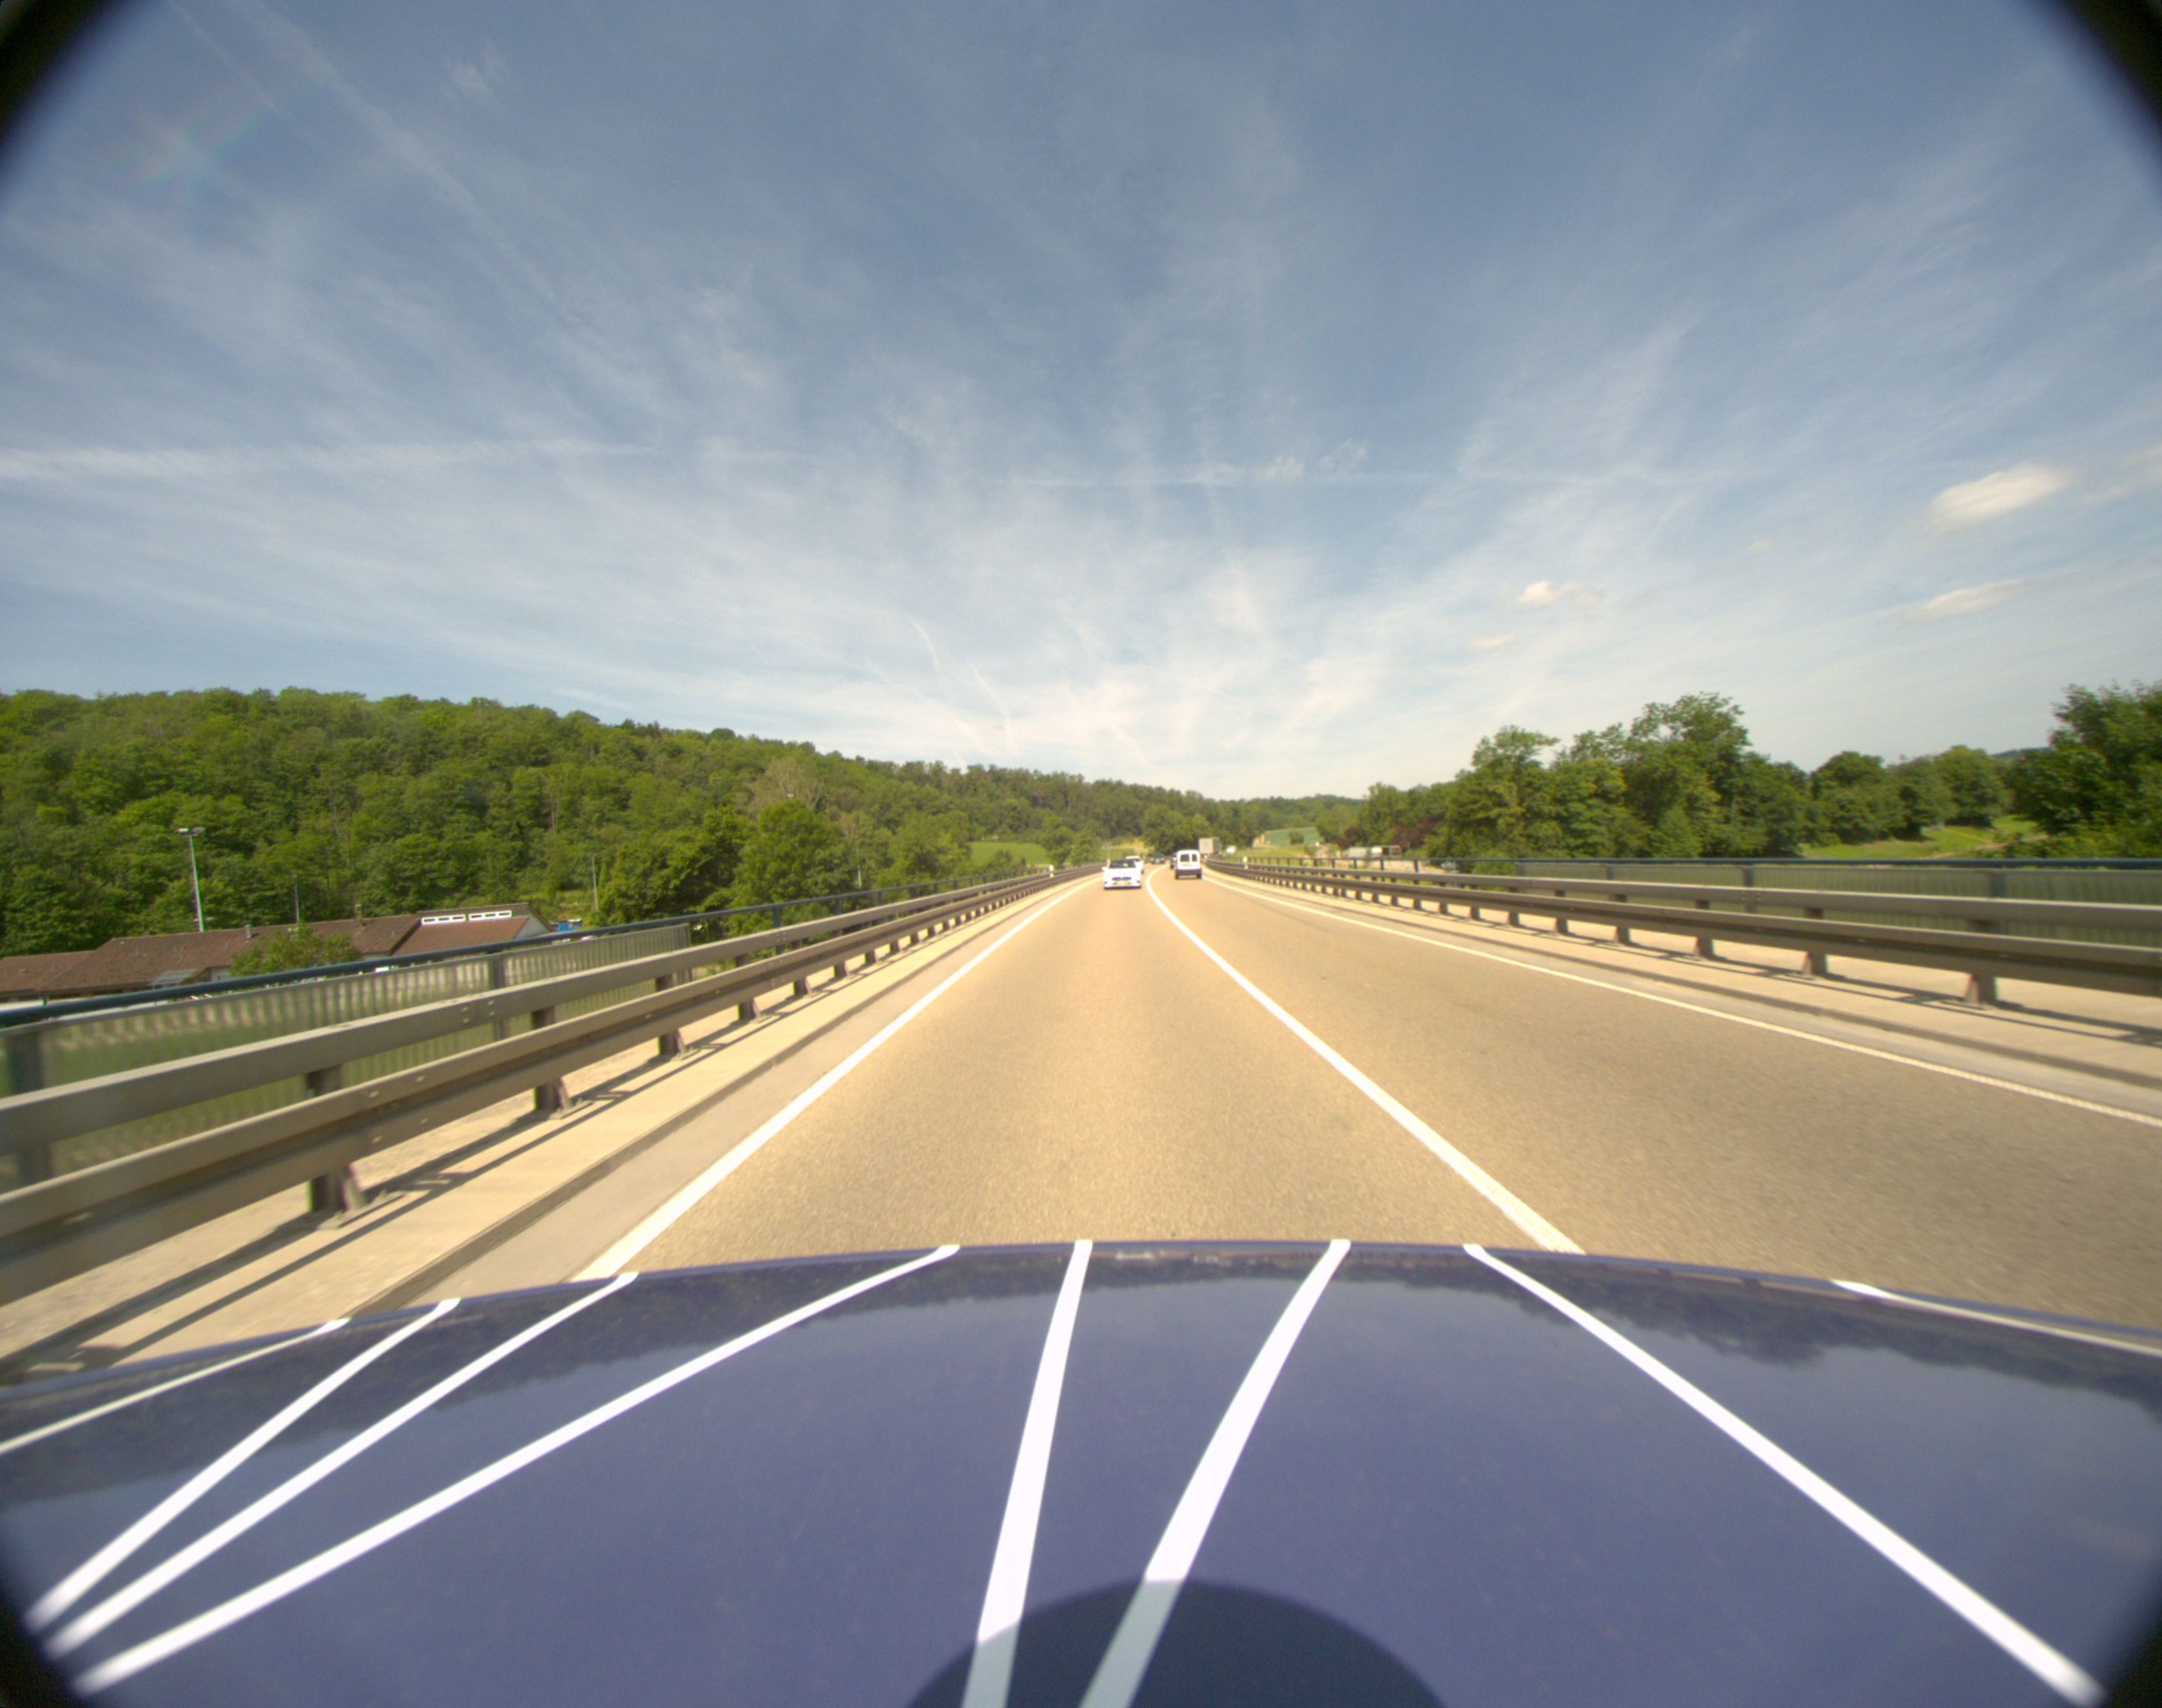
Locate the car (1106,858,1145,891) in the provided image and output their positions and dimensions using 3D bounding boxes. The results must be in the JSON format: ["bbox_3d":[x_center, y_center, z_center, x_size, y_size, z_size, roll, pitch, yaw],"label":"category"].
[{"bbox_3d":[2.138,0.975,37.510,1.743,1.445,4.036,-2,0,1],"label":"car"}]

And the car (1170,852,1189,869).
[{"bbox_3d":[10.123,0.657,78.447,1.742,1.602,3.809,-2,0,6],"label":"car"}]

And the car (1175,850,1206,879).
[{"bbox_3d":[6.963,0.639,48.626,1.742,1.764,4.037,-2,0,6],"label":"car"}]

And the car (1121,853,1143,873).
[{"bbox_3d":[4.335,0.701,64.454,1.717,1.523,4.000,-3,1,3],"label":"car"}]

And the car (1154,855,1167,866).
[{"bbox_3d":[11.456,0.967,109.789,1.742,1.445,4.037,-2,0,5],"label":"car"}]
